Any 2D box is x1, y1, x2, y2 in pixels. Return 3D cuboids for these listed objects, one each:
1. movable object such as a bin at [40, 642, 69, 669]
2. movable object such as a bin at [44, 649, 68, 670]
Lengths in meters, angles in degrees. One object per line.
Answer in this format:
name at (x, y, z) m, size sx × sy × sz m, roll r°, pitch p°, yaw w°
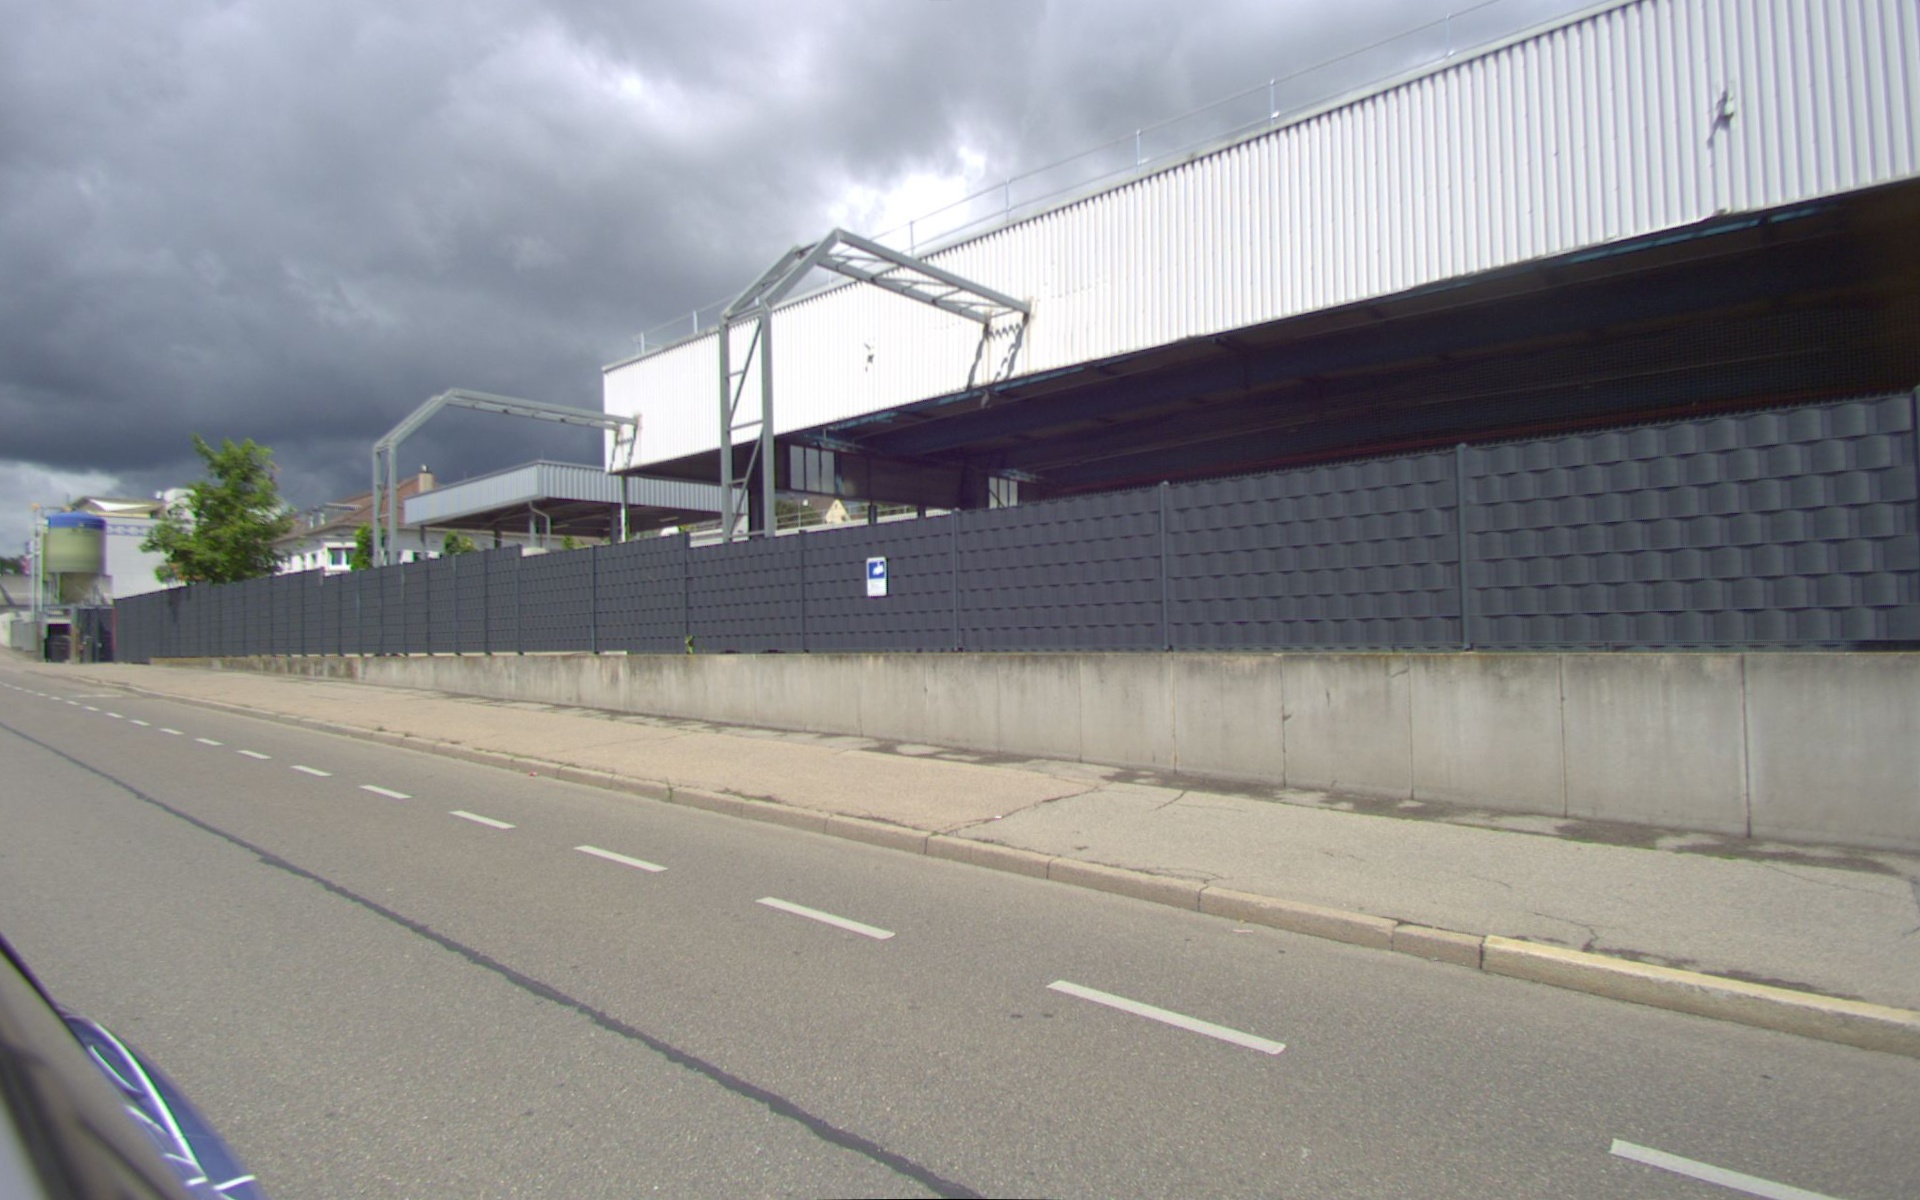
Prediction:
movable object such as a bin at (-48.063, 2.966, 53.711) m, size 1.215 × 1.404 × 0.980 m, roll -3°, pitch -5°, yaw 43°
movable object such as a bin at (-47.371, 3.109, 53.014) m, size 0.862 × 1.058 × 0.741 m, roll 4°, pitch -5°, yaw -45°
